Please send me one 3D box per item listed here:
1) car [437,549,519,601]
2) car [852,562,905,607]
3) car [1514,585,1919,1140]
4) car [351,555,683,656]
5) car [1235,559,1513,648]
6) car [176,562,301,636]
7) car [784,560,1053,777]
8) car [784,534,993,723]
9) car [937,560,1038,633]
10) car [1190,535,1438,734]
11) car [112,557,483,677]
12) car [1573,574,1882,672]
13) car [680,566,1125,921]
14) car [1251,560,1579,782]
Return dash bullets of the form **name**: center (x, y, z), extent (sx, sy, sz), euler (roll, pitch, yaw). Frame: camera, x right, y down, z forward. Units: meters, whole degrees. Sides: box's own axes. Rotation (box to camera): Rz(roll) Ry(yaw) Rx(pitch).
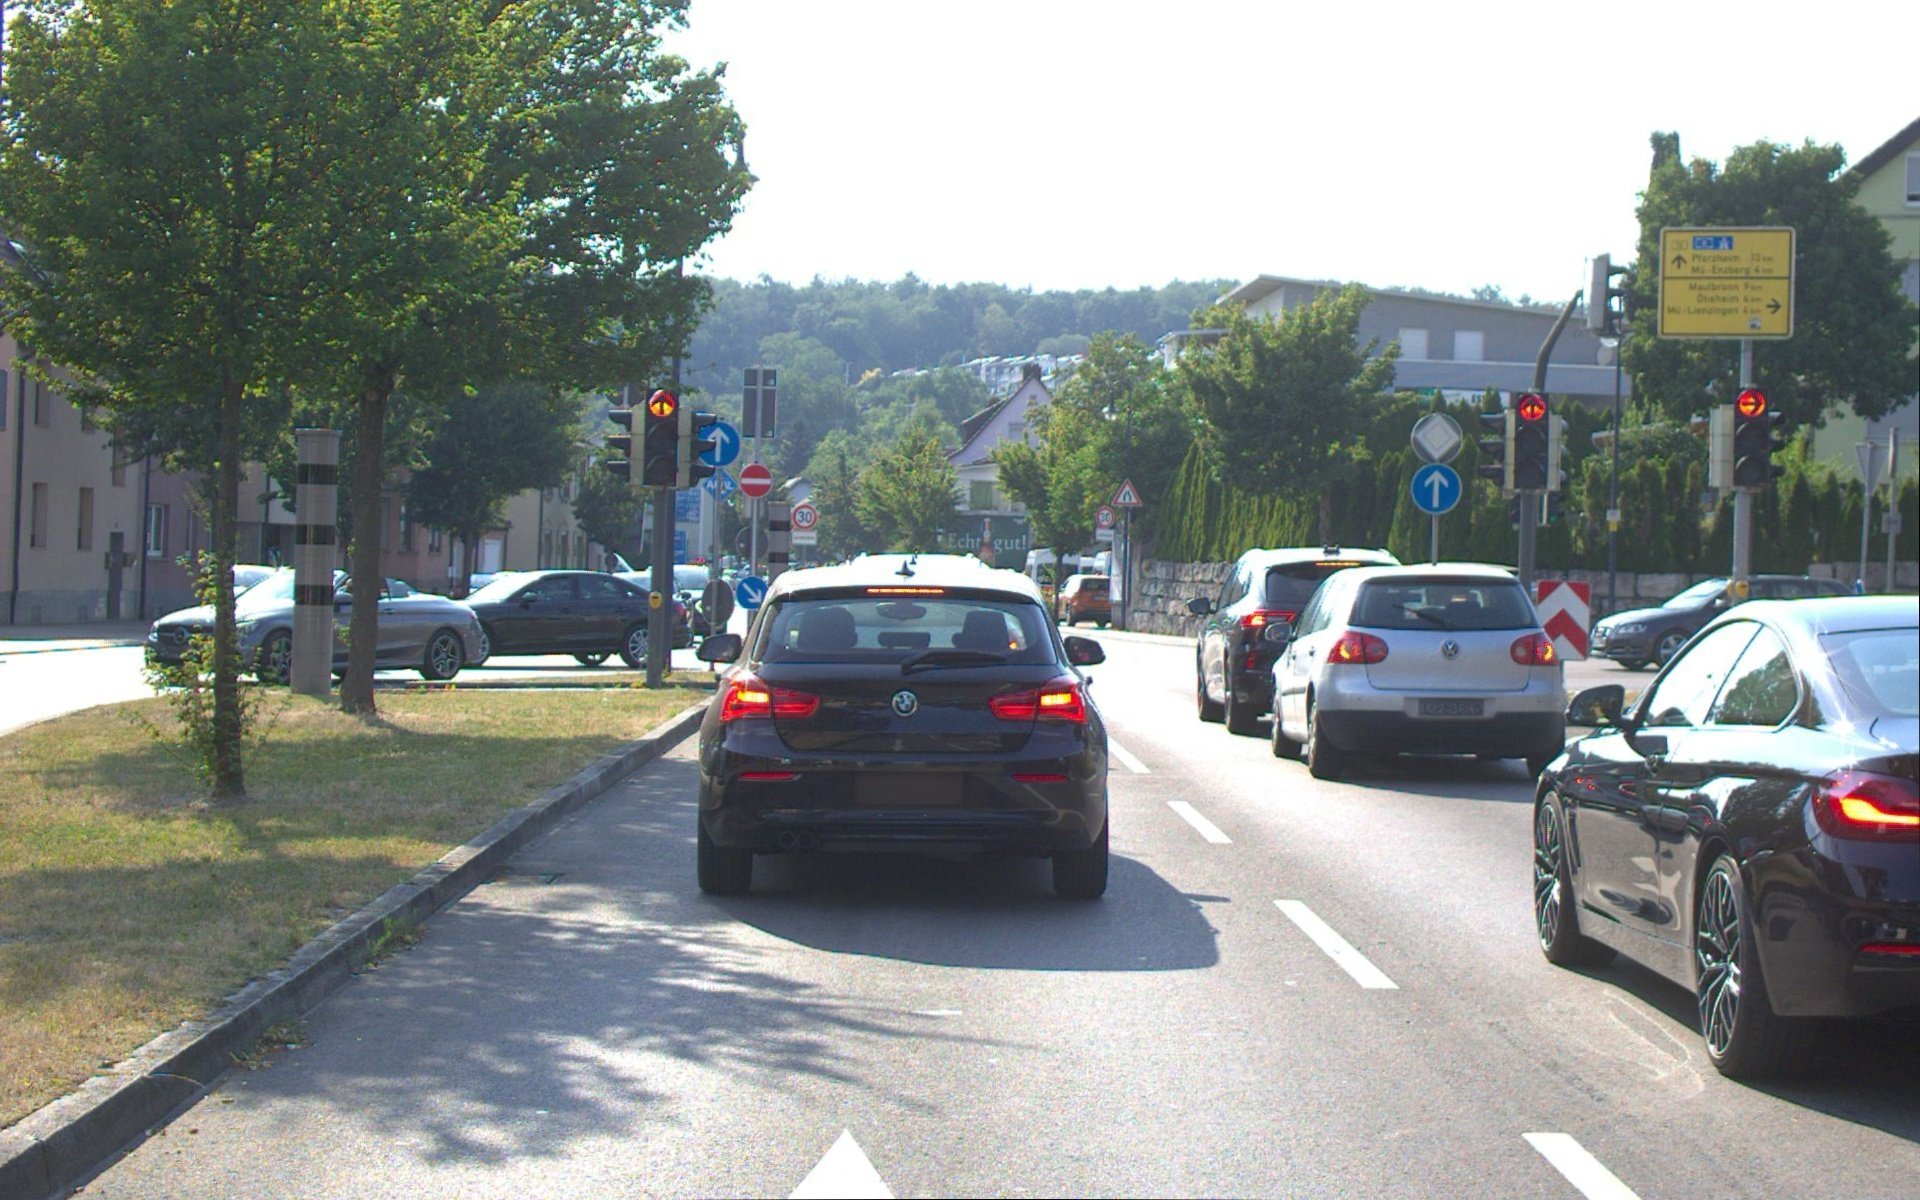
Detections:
- **car**: center (-15.146, -0.792, 108.199), extent (1.924, 1.590, 4.000), euler (1, 1, 1)
- **car**: center (-2.994, -0.590, 126.775), extent (1.924, 1.590, 4.000), euler (1, 1, -1)
- **car**: center (3.018, 0.674, 10.974), extent (1.816, 1.384, 4.347), euler (1, 1, 1)
- **car**: center (-6.553, 0.080, 51.171), extent (4.630, 1.417, 1.848), euler (0, 1, -40)
- **car**: center (7.470, 0.042, 62.271), extent (4.653, 1.480, 1.864), euler (1, 1, 36)
- **car**: center (-16.338, -0.050, 78.003), extent (1.924, 1.590, 4.000), euler (1, 1, 1)
- **car**: center (-0.264, 0.443, 25.526), extent (1.816, 1.446, 4.242), euler (1, 1, 1)
- **car**: center (-0.613, 0.223, 32.341), extent (1.816, 1.635, 4.242), euler (1, 1, 1)
- **car**: center (0.629, -0.103, 82.909), extent (1.890, 1.696, 4.524), euler (0, 1, -6)
- **car**: center (3.140, 0.266, 31.243), extent (1.816, 1.660, 4.347), euler (1, 1, 1)
- **car**: center (-7.965, 0.188, 41.707), extent (1.784, 1.345, 4.470), euler (1, 1, 34)
- **car**: center (11.479, 0.336, 51.497), extent (4.175, 1.382, 1.651), euler (1, 1, -9)
- **car**: center (-0.216, 0.562, 16.168), extent (1.790, 1.410, 4.347), euler (1, 1, 1)
- **car**: center (3.198, 0.447, 24.923), extent (1.816, 1.441, 4.347), euler (1, 1, 1)
